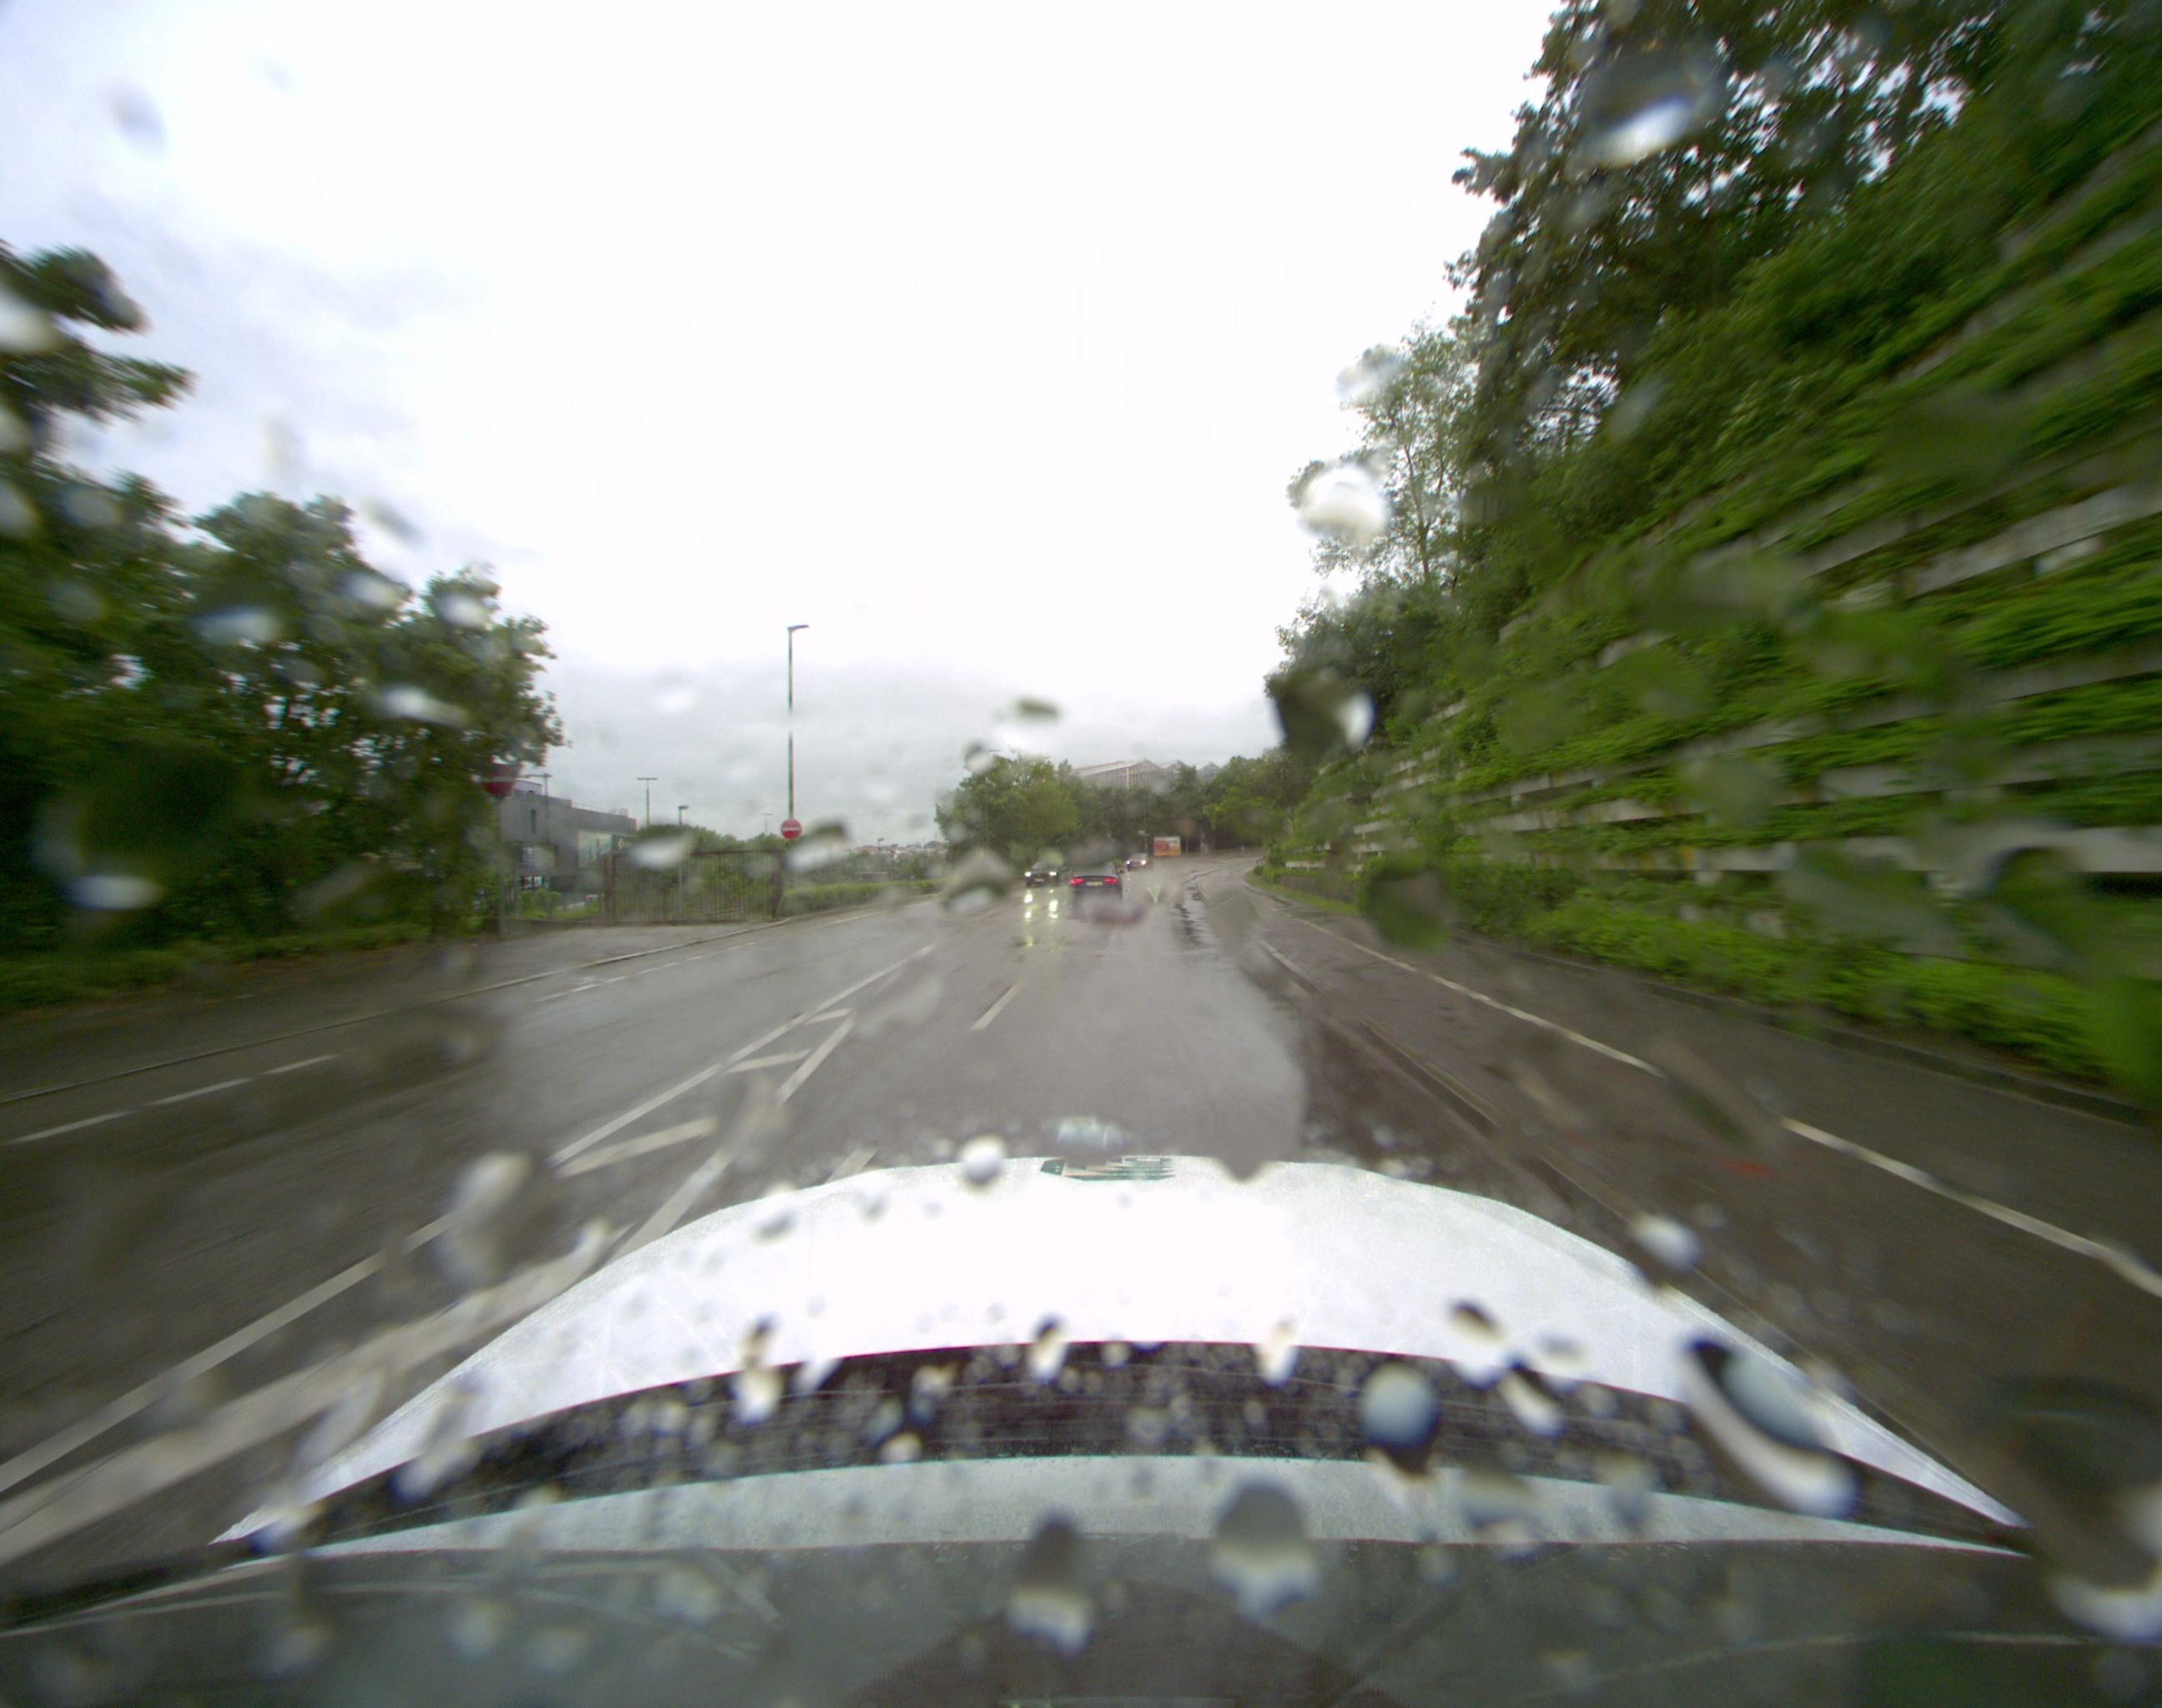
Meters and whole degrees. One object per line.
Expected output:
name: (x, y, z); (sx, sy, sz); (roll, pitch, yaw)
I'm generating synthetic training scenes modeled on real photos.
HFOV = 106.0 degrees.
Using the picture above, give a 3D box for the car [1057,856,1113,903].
car: (0.088, 0.801, 27.365); (1.750, 1.395, 3.998); (-1, 0, -1)

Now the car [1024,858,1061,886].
car: (-2.101, 0.968, 45.370); (1.717, 1.462, 4.545); (1, 0, 1)

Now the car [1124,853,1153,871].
car: (5.306, 0.691, 74.825); (1.740, 1.535, 4.019); (-1, 1, 18)
